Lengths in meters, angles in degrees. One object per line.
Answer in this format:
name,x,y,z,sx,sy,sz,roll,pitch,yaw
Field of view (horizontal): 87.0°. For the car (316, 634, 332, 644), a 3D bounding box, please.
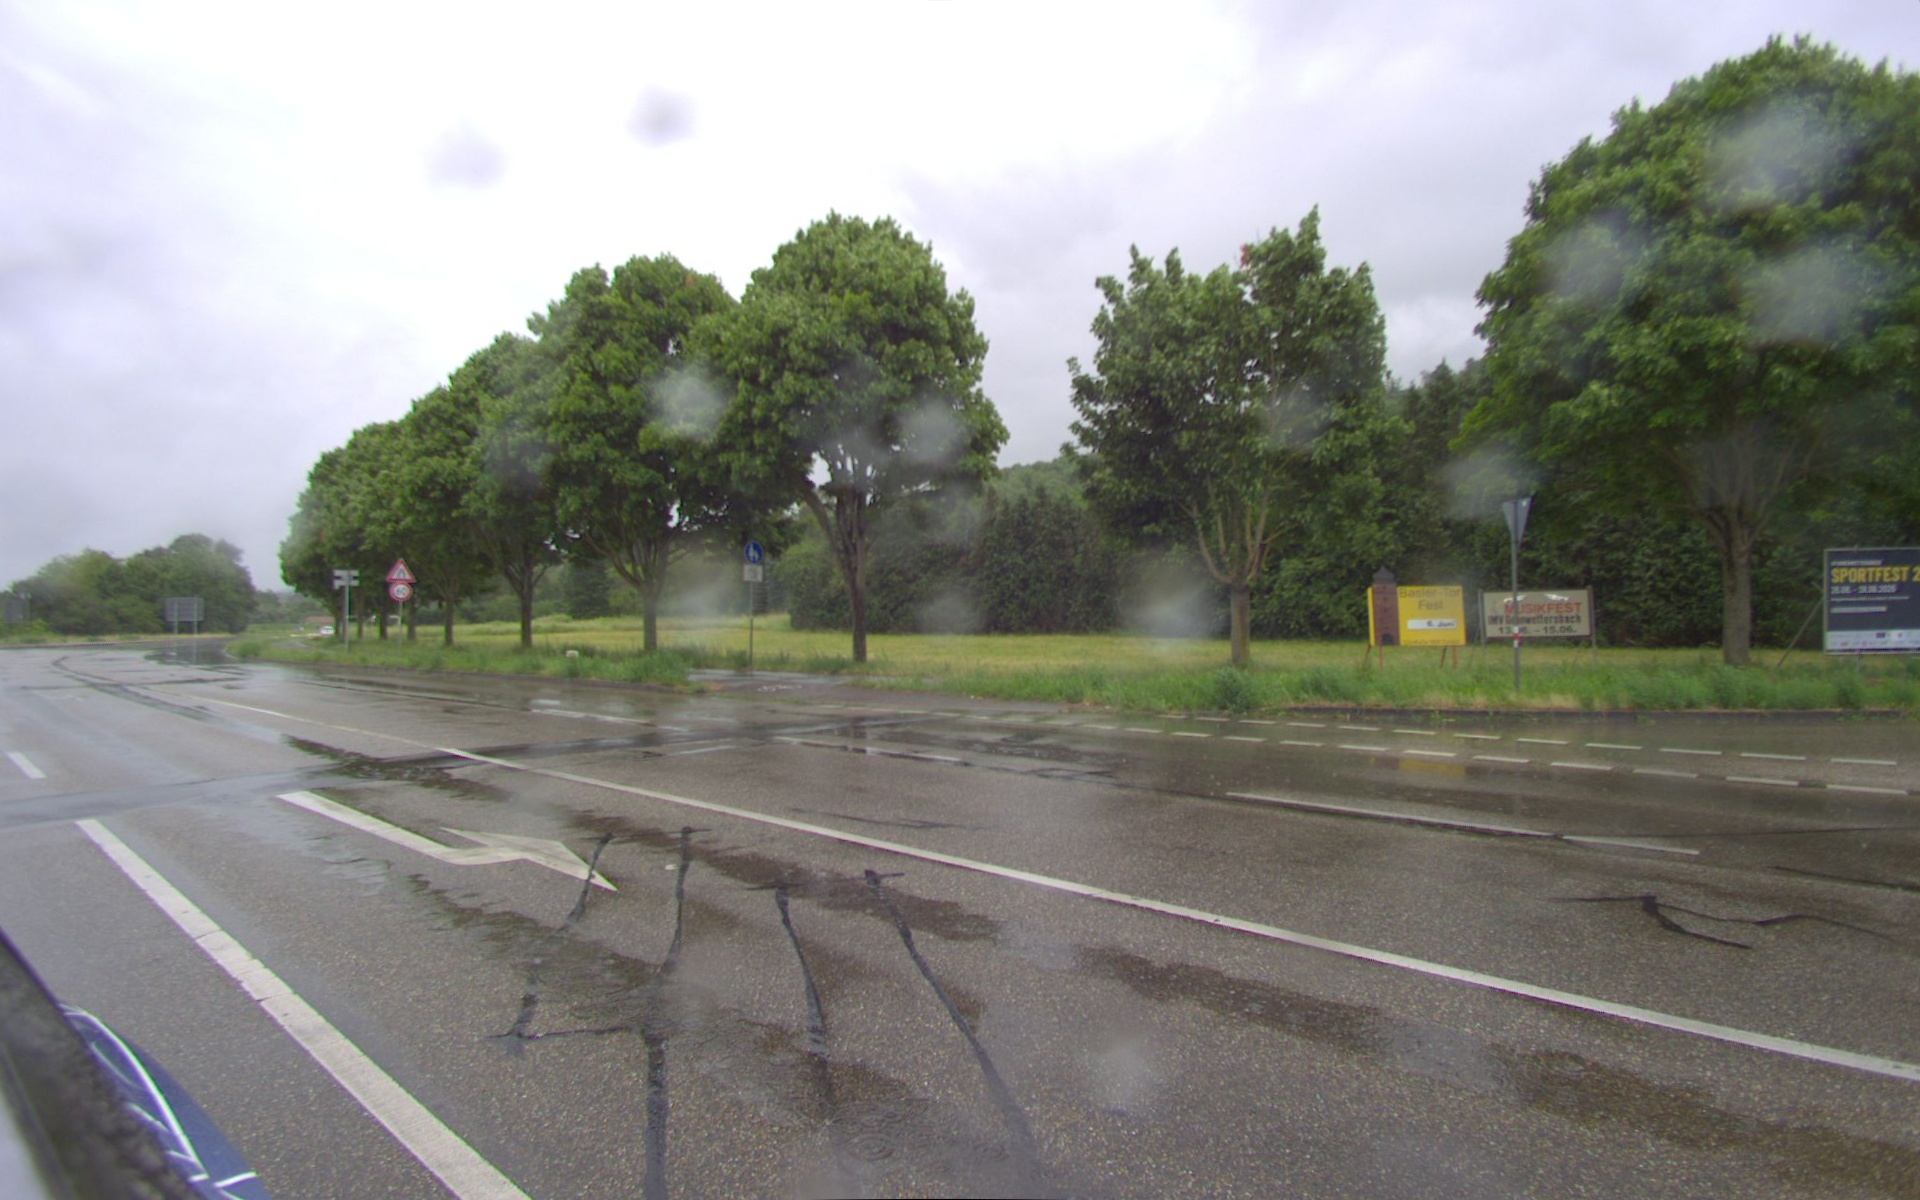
car,-104.336,6.458,166.132,1.852,1.585,4.659,2,-2,-28
